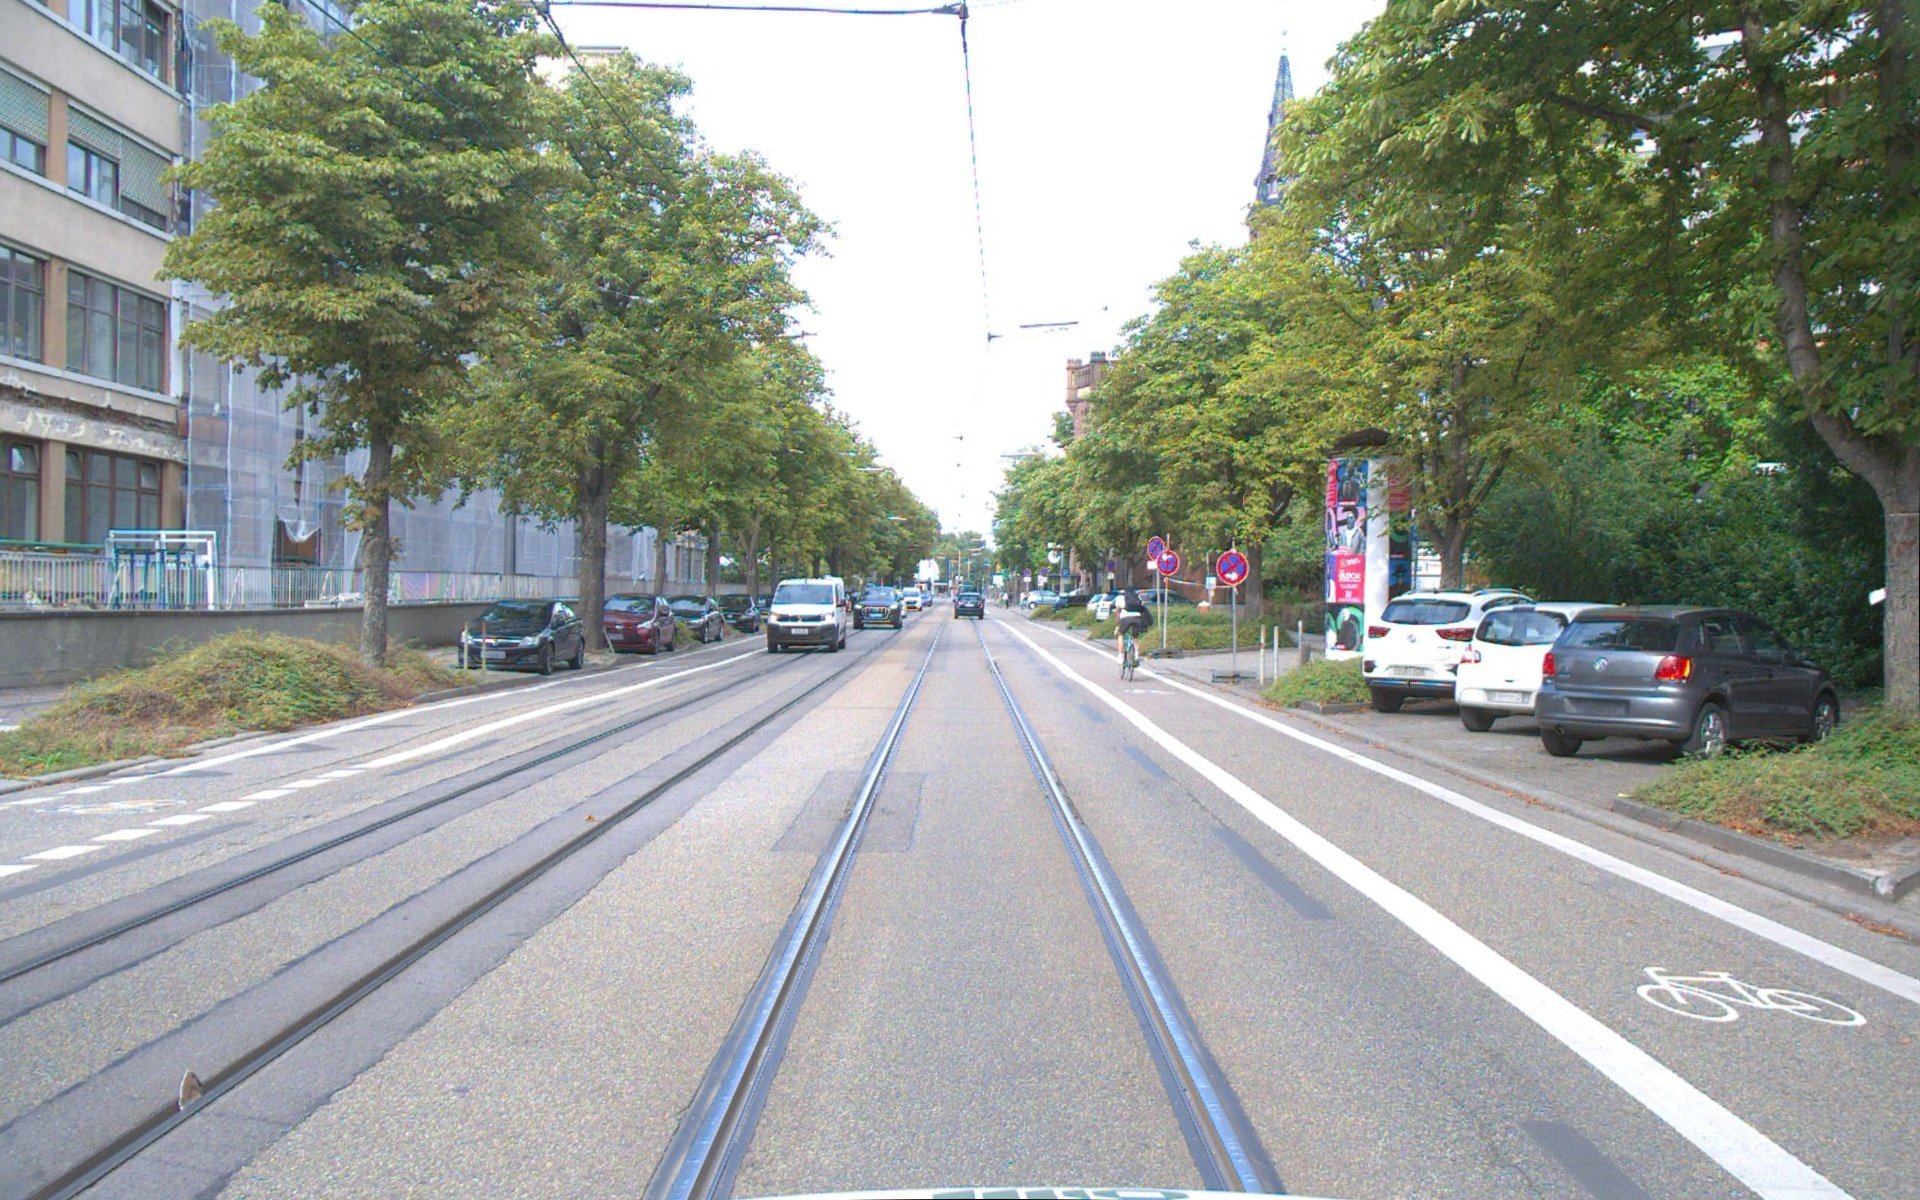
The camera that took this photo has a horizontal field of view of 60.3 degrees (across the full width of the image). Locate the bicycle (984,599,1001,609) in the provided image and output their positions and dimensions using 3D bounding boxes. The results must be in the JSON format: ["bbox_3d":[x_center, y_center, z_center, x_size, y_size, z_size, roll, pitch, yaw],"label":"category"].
[{"bbox_3d":[3.271,0.382,167.233,1.684,1.009,0.659,2,0,8],"label":"bicycle"}]

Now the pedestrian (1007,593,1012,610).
[{"bbox_3d":[6.151,0.208,204.296,0.507,2.049,0.480,1,0,3],"label":"pedestrian"}]

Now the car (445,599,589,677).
[{"bbox_3d":[-8.581,0.693,32.355,1.766,1.398,4.030,0,0,-1],"label":"car"}]

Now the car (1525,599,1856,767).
[{"bbox_3d":[7.286,0.745,16.384,3.501,1.468,1.601,1,0,-39],"label":"car"}]

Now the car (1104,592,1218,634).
[{"bbox_3d":[7.397,0.479,61.147,3.907,1.449,1.884,1,0,-3],"label":"car"}]

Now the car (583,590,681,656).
[{"bbox_3d":[-8.429,0.566,42.748,1.766,1.611,4.030,0,0,-1],"label":"car"}]

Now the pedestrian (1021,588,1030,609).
[{"bbox_3d":[5.495,-0.132,139.168,0.711,1.674,0.767,2,0,1],"label":"pedestrian"}]

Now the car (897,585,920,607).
[{"bbox_3d":[-4.012,-0.312,129.263,1.766,1.650,4.484,0,0,-1],"label":"car"}]

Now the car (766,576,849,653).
[{"bbox_3d":[-3.871,0.342,42.658,1.766,1.855,4.484,0,0,-1],"label":"car"}]

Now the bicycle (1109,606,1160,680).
[{"bbox_3d":[3.233,0.777,30.807,0.644,1.270,2.124,2,0,-1],"label":"bicycle"}]

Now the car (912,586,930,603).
[{"bbox_3d":[-3.914,-0.551,168.435,1.766,1.650,4.484,0,0,-1],"label":"car"}]

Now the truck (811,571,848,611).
[{"bbox_3d":[-8.353,-0.557,106.003,2.029,2.513,4.898,0,0,-1],"label":"truck"}]

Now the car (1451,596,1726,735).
[{"bbox_3d":[7.423,0.716,19.436,3.414,1.468,1.538,1,0,-39],"label":"car"}]

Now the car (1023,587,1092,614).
[{"bbox_3d":[5.830,0.017,99.073,3.907,1.534,1.884,1,0,-3],"label":"car"}]

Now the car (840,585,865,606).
[{"bbox_3d":[-8.562,-0.352,131.701,1.766,1.611,4.030,0,0,-1],"label":"car"}]

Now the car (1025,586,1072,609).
[{"bbox_3d":[7.747,-0.216,145.269,3.907,1.944,1.999,2,0,-3],"label":"car"}]

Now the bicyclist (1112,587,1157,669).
[{"bbox_3d":[3.234,0.507,30.776,0.644,1.489,1.178,1,0,-1],"label":"bicyclist"}]

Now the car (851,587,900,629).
[{"bbox_3d":[-3.394,0.313,67.028,1.766,1.650,4.484,0,0,-1],"label":"car"}]

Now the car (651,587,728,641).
[{"bbox_3d":[-8.394,0.404,51.619,1.766,1.611,4.030,0,0,-1],"label":"car"}]

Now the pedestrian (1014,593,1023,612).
[{"bbox_3d":[5.245,0.223,148.751,0.711,1.674,0.767,2,0,1],"label":"pedestrian"}]

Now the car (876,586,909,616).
[{"bbox_3d":[-3.873,0.032,95.320,1.766,1.650,4.484,0,0,-1],"label":"car"}]

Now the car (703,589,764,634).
[{"bbox_3d":[-8.497,0.403,62.352,1.766,1.611,4.030,0,0,-1],"label":"car"}]

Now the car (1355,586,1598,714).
[{"bbox_3d":[7.072,0.644,22.533,3.414,1.600,1.538,1,0,-39],"label":"car"}]

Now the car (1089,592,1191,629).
[{"bbox_3d":[7.392,0.410,68.049,3.907,1.449,1.884,1,0,-3],"label":"car"}]

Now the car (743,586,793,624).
[{"bbox_3d":[-8.390,0.185,72.589,1.766,1.611,4.030,0,0,-1],"label":"car"}]

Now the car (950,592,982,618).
[{"bbox_3d":[0.325,0.271,96.017,1.757,1.448,3.999,1,0,-1],"label":"car"}]

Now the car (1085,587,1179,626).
[{"bbox_3d":[7.613,0.260,73.454,3.907,1.656,1.884,1,0,-3],"label":"car"}]

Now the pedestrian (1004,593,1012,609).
[{"bbox_3d":[4.831,0.099,167.065,0.711,1.674,0.767,2,0,10],"label":"pedestrian"}]
